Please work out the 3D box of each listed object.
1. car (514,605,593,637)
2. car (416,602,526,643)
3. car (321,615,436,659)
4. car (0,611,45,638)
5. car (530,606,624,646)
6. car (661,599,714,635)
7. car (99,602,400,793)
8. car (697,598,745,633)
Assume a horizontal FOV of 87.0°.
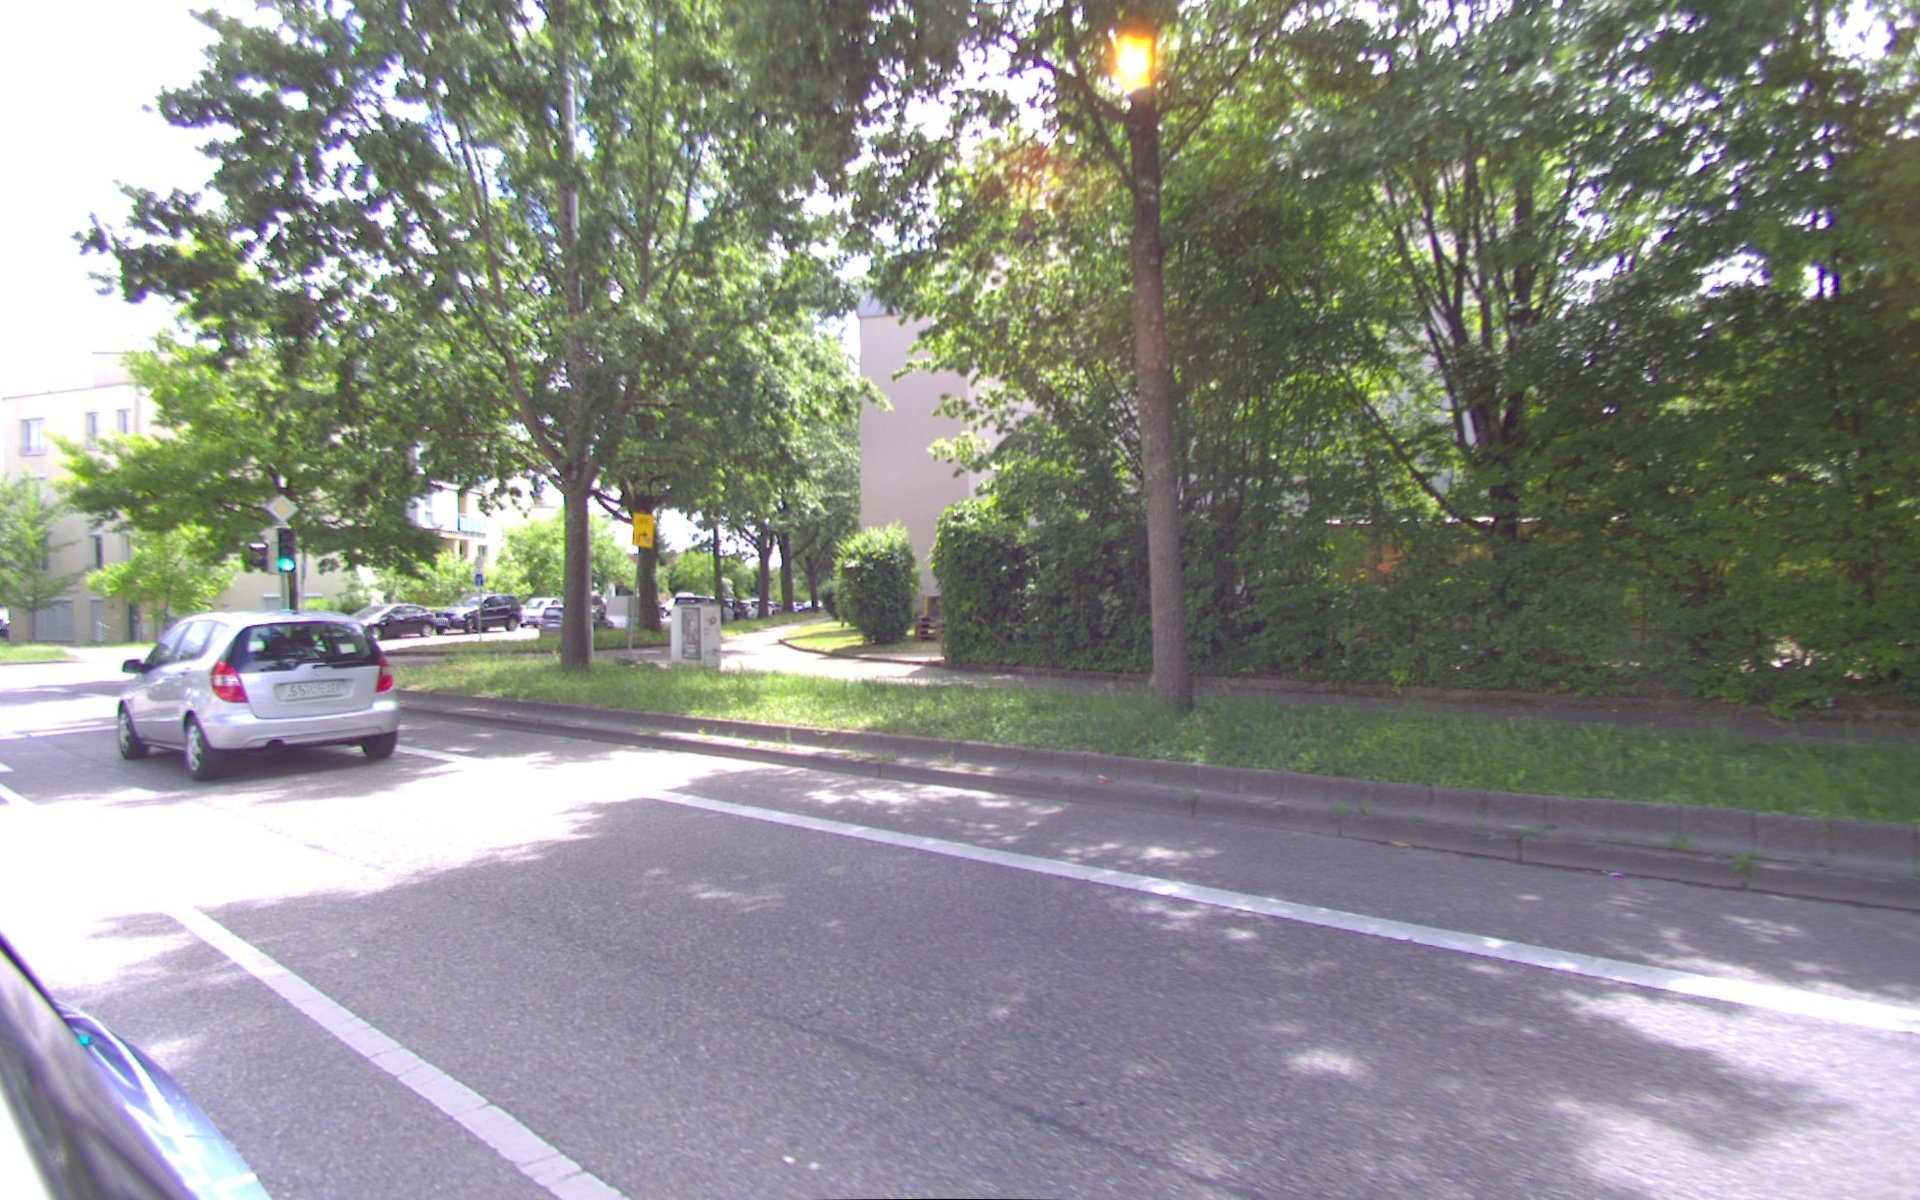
[{"bbox_3d":[-21.408,1.060,53.435,1.954,1.342,3.987,-2,3,12],"label":"car"},{"bbox_3d":[-22.600,0.988,47.015,2.081,1.615,4.772,0,2,13],"label":"car"},{"bbox_3d":[-23.960,1.494,41.880,1.720,1.408,4.136,-1,3,13],"label":"car"},{"bbox_3d":[-53.394,1.350,56.180,1.767,1.431,4.003,-2,-1,-3],"label":"car"},{"bbox_3d":[-15.256,0.996,40.532,1.678,1.463,3.986,1,1,11],"label":"car"},{"bbox_3d":[-14.779,0.909,55.128,2.093,1.807,4.424,-2,0,-6],"label":"car"},{"bbox_3d":[-7.708,0.895,10.838,3.998,1.630,1.691,-1,1,41],"label":"car"},{"bbox_3d":[-14.075,0.897,59.793,1.633,1.747,3.997,-2,3,3],"label":"car"}]
